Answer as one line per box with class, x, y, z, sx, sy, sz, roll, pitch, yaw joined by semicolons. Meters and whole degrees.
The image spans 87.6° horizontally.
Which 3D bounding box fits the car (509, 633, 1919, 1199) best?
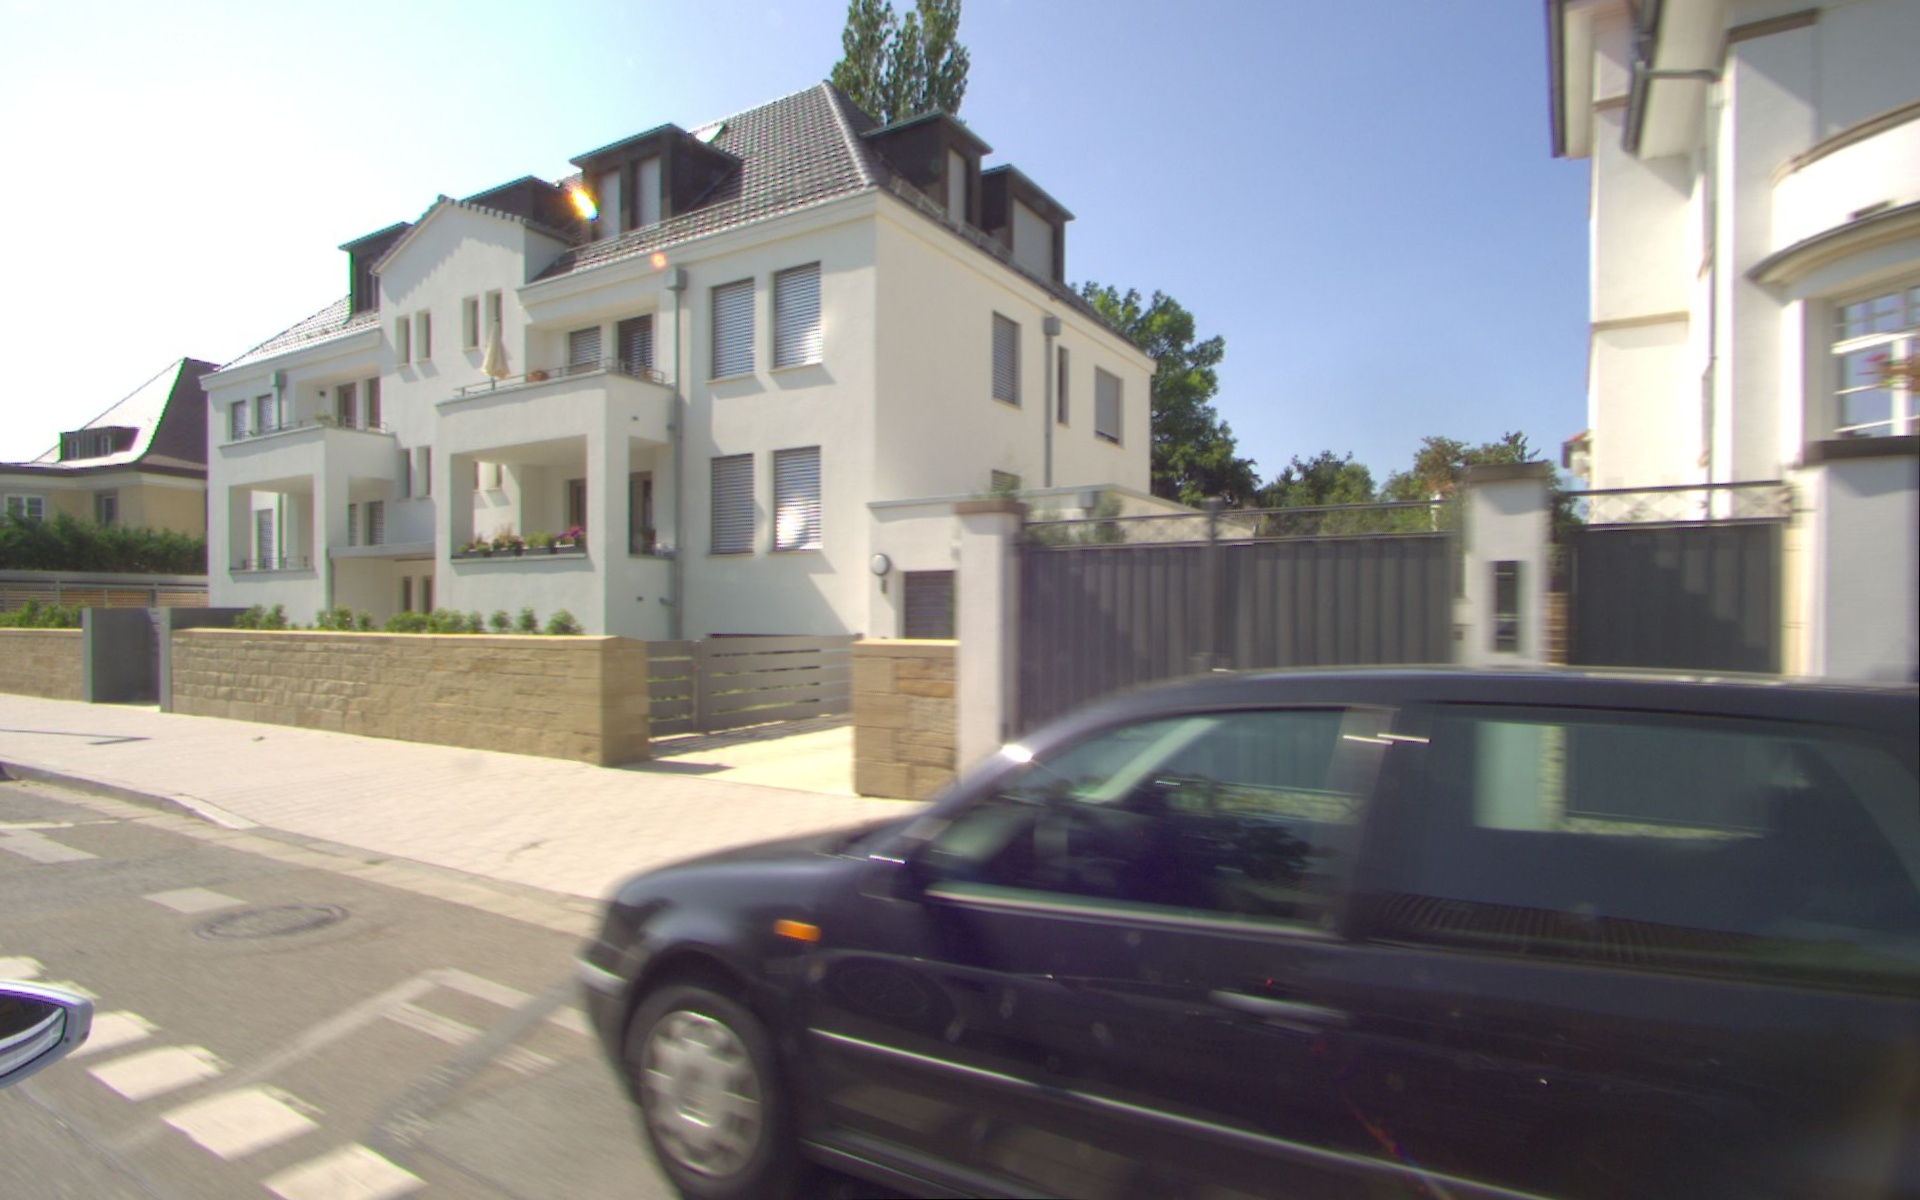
car;0.794;0.841;2.577;3.942;1.467;1.617;-1;-3;32
